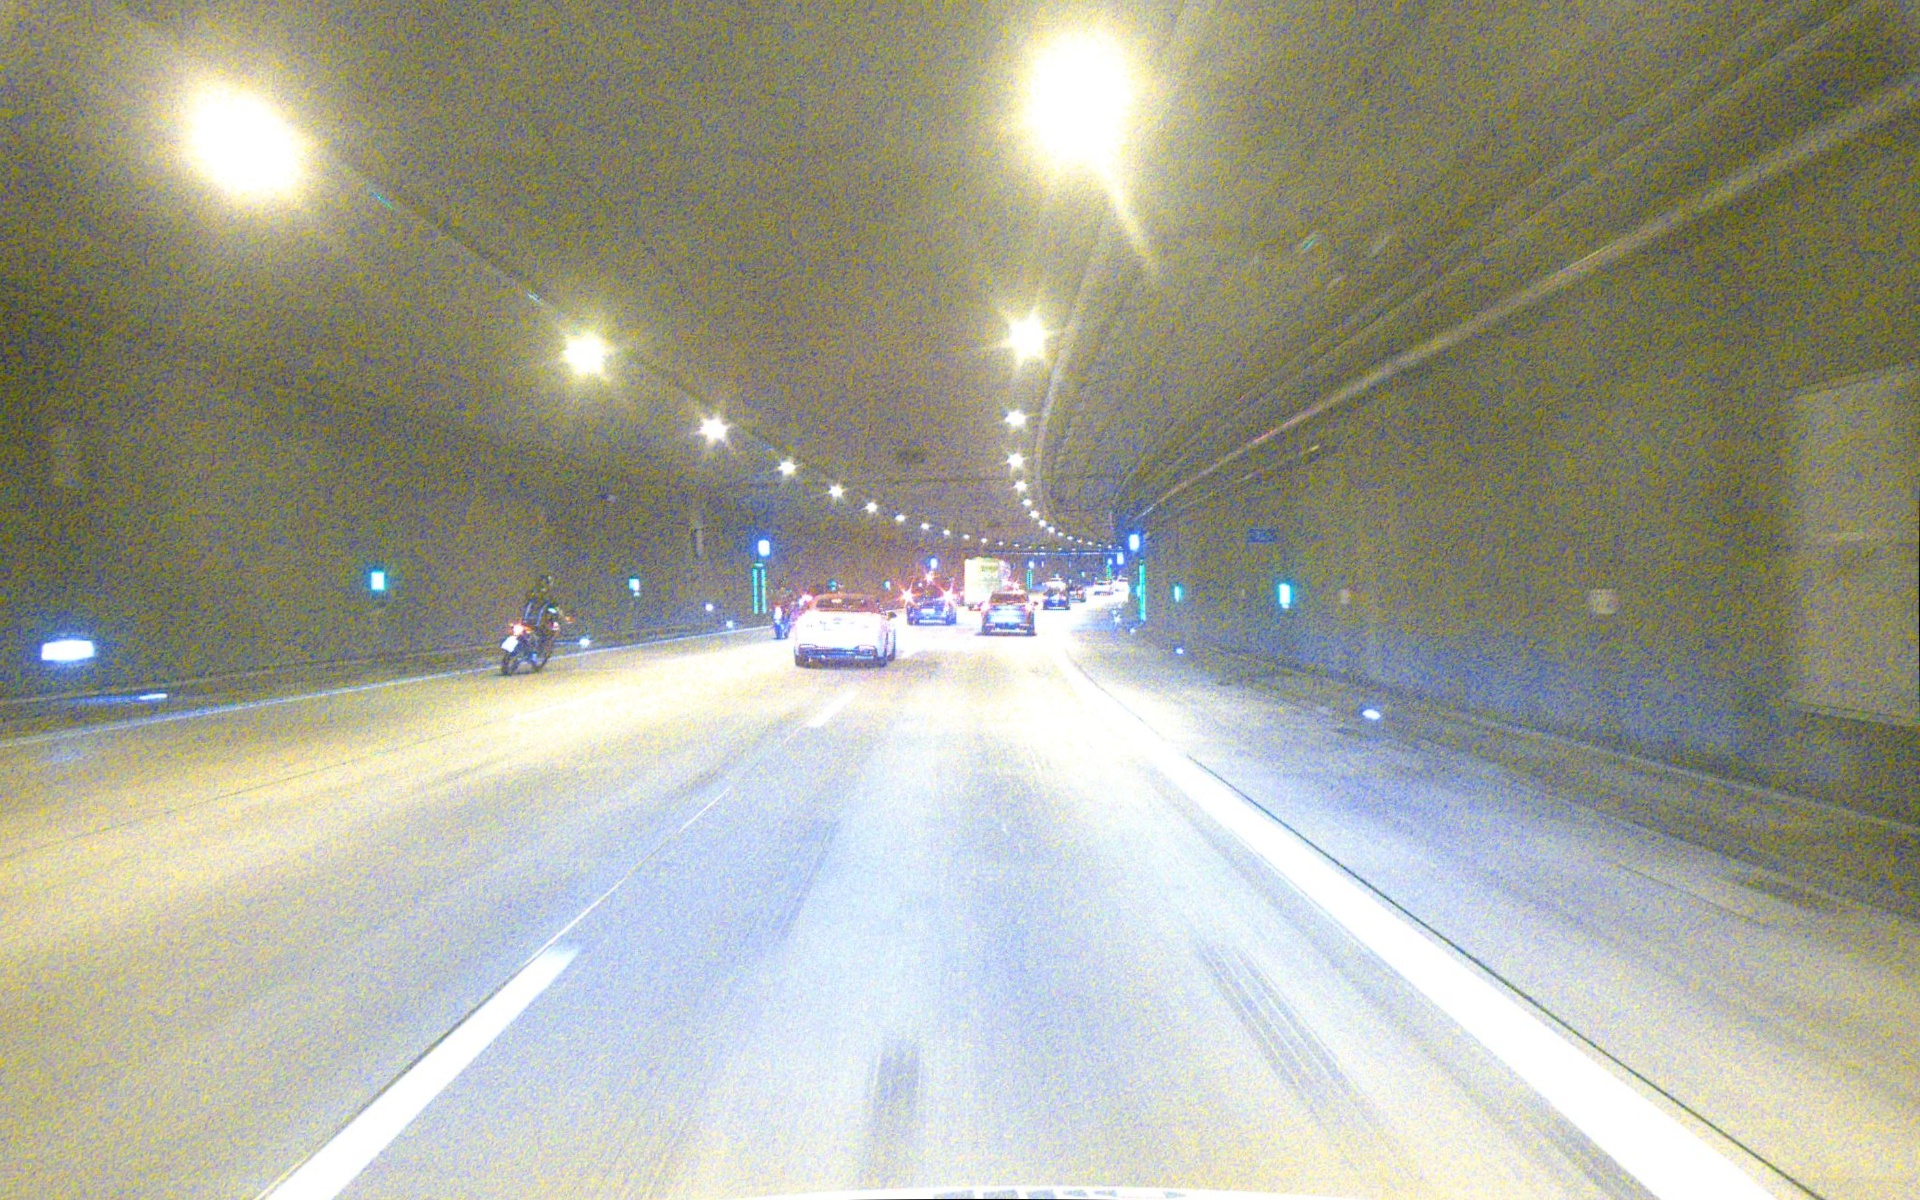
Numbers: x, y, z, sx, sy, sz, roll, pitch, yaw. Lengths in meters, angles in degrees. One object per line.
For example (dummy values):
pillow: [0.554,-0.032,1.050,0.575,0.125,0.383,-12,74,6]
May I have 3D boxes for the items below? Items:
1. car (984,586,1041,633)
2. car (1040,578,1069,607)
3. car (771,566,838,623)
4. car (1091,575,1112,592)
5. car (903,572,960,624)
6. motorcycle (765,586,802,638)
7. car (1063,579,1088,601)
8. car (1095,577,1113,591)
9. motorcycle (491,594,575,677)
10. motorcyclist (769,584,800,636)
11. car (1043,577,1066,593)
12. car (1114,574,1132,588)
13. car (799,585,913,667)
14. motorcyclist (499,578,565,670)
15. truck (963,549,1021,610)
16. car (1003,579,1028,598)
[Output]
car: [1.802,0.354,55.964,1.705,1.490,3.873,1,-1,4]
car: [6.369,-0.520,111.141,1.818,1.887,4.003,0,0,6]
car: [-5.875,-0.217,62.923,1.952,2.049,4.002,0,0,3]
car: [14.976,-1.723,175.025,1.889,1.671,4.003,1,0,8]
car: [-1.148,-0.104,68.209,1.869,1.978,3.875,0,2,6]
motorcycle: [-5.117,0.330,48.119,0.908,1.459,2.962,1,0,-3]
car: [9.763,-0.829,139.515,1.909,1.803,4.003,1,0,6]
car: [18.143,-2.042,208.215,1.889,1.671,4.003,1,0,11]
motorcycle: [-7.064,0.560,27.492,0.668,1.319,2.399,1,0,2]
motorcyclist: [-5.094,0.288,48.102,0.790,1.473,1.864,1,0,-3]
car: [10.504,-1.656,183.645,1.889,1.671,4.003,1,0,13]
car: [19.218,-2.235,195.110,1.951,1.660,4.003,1,0,9]
car: [-2.017,0.469,33.534,1.666,1.443,5.063,0,1,4]
motorcyclist: [-7.089,0.393,27.418,0.761,1.478,1.069,1,0,3]
truck: [2.109,-1.293,105.749,2.974,3.737,7.398,0,0,7]
car: [5.016,-1.069,149.539,1.889,1.671,4.003,0,0,7]
